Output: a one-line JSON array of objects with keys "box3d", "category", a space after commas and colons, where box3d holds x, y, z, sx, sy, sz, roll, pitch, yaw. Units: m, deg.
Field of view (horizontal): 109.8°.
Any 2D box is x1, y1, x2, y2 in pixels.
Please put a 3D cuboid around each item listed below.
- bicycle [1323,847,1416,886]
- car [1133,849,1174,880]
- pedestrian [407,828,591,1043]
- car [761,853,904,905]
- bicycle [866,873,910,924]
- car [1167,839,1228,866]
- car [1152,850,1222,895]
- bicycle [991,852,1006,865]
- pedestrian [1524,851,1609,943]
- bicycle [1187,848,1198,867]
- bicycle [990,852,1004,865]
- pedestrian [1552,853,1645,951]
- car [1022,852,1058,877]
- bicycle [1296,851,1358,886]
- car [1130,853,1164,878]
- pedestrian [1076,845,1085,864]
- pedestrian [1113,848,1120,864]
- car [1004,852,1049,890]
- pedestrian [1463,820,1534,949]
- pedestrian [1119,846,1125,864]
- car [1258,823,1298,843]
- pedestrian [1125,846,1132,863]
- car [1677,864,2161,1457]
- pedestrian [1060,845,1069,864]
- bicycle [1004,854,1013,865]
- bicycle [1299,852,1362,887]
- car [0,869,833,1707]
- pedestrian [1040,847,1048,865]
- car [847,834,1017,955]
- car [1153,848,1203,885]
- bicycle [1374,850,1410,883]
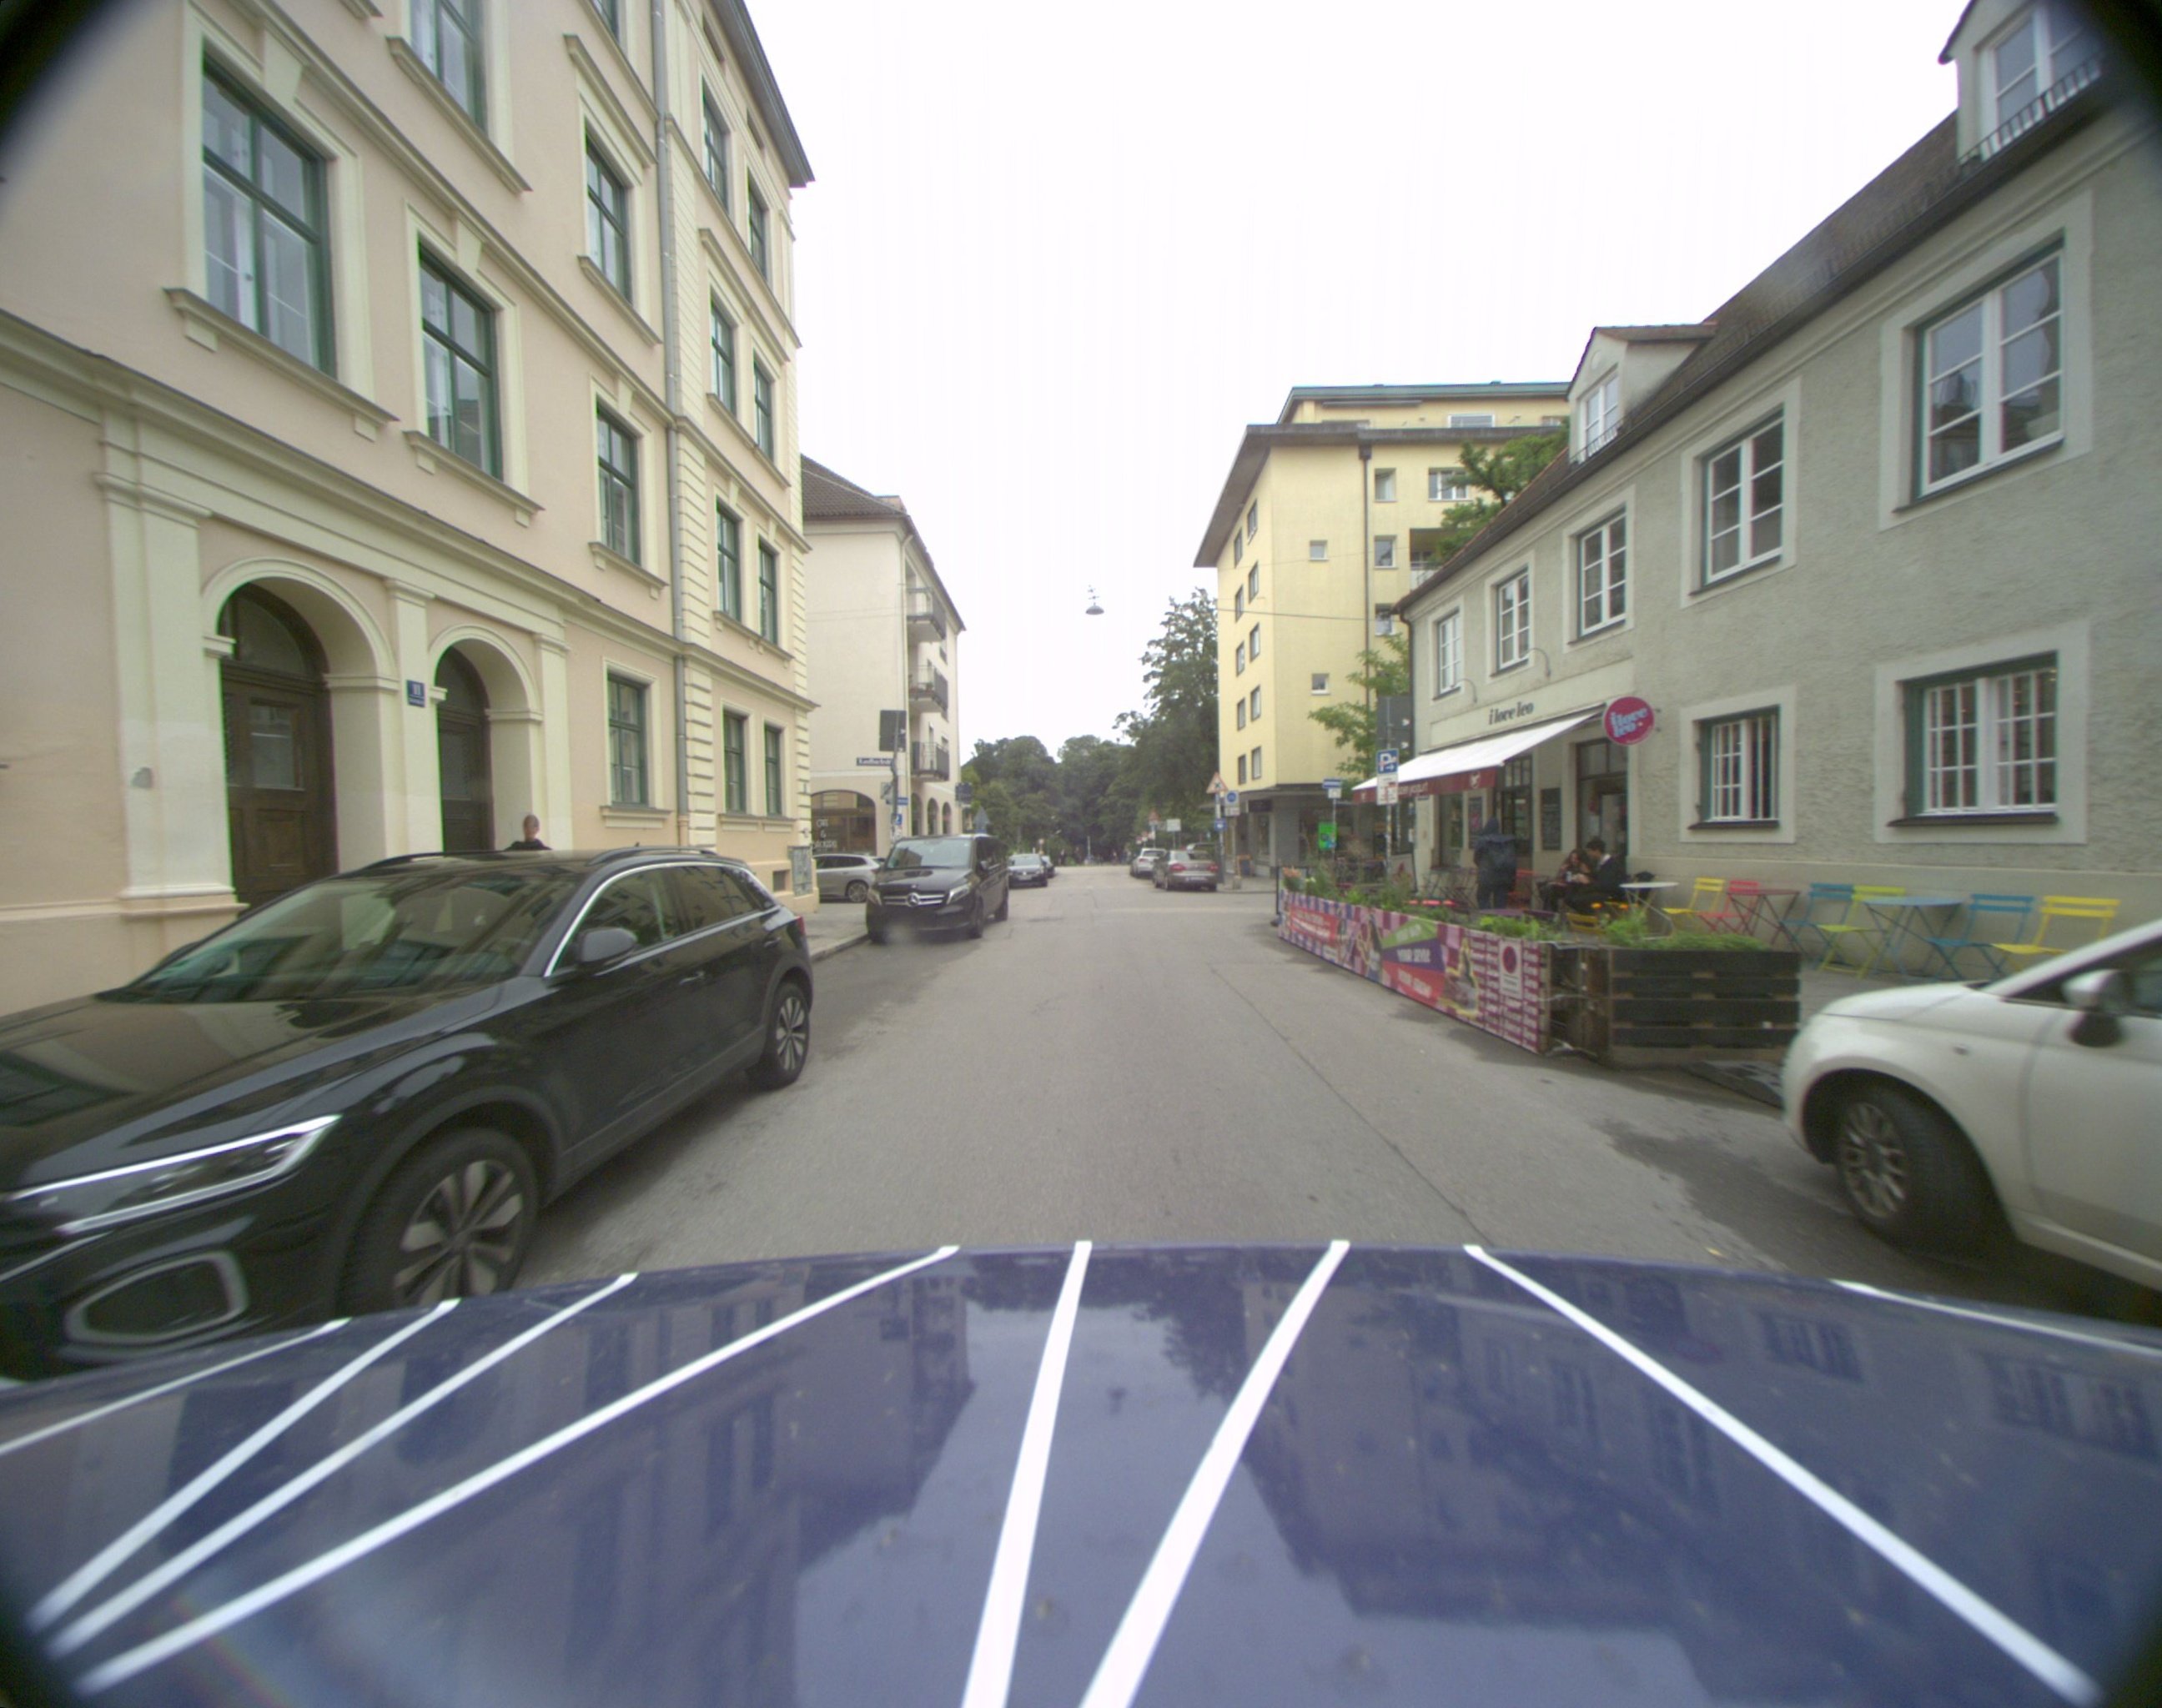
[{"box3d": [9.970, 0.428, 26.336, 2.849, 1.205, 0.817, -3, 2, 3], "category": "bicycle"}, {"box3d": [3.847, 0.535, 40.959, 1.807, 1.574, 4.338, 0, 0, 1], "category": "car"}, {"box3d": [-4.945, 0.636, 6.541, 0.721, 1.708, 1.003, -1, 3, 0], "category": "pedestrian"}, {"box3d": [-8.074, 0.804, 24.954, 4.099, 1.595, 1.755, -1, -1, -1], "category": "car"}, {"box3d": [-4.237, 0.957, 16.786, 0.466, 1.046, 1.730, 1, -1, 1], "category": "bicycle"}, {"box3d": [9.322, -0.122, 60.721, 4.422, 1.990, 1.933, -2, 2, -14], "category": "car"}, {"box3d": [3.744, 0.594, 27.613, 1.683, 1.463, 4.948, 0, 1, -2], "category": "car"}, {"box3d": [-7.808, 0.430, 71.980, 0.169, 1.191, 1.658, 0, -1, 42], "category": "bicycle"}, {"box3d": [7.185, 0.621, 11.279, 0.805, 1.283, 0.693, -1, 3, 1], "category": "pedestrian"}, {"box3d": [7.602, 0.247, 51.892, 0.563, 1.203, 1.854, -2, 1, 3], "category": "bicycle"}, {"box3d": [-7.957, 0.438, 72.110, 0.202, 1.184, 1.658, 0, -1, 42], "category": "bicycle"}, {"box3d": [7.169, 0.653, 10.556, 0.805, 1.283, 0.693, -1, 3, 1], "category": "pedestrian"}, {"box3d": [-2.426, 0.595, 45.992, 1.807, 1.402, 4.656, -2, 0, 1], "category": "car"}, {"box3d": [7.972, 0.482, 24.669, 1.822, 1.029, 0.392, -3, 0, 3], "category": "bicycle"}, {"box3d": [4.016, 0.673, 46.528, 1.750, 1.402, 4.097, 0, 0, 1], "category": "car"}, {"box3d": [-0.035, 0.041, 66.685, 0.639, 1.662, 0.774, -3, -2, 1], "category": "pedestrian"}, {"box3d": [3.892, 0.219, 83.464, 0.751, 1.822, 1.115, 0, -1, 1], "category": "pedestrian"}, {"box3d": [-2.295, 0.670, 32.778, 1.680, 1.417, 4.202, -4, 0, -2], "category": "car"}, {"box3d": [5.965, 0.405, 10.895, 0.530, 1.772, 0.877, -1, 3, 1], "category": "pedestrian"}, {"box3d": [4.382, 0.085, 81.317, 0.707, 1.892, 0.804, 0, -1, 1], "category": "pedestrian"}, {"box3d": [22.416, -2.408, 86.471, 3.957, 2.093, 1.908, -1, 2, 31], "category": "car"}, {"box3d": [5.096, 0.083, 81.310, 0.634, 1.771, 0.801, 0, -1, 1], "category": "pedestrian"}, {"box3d": [3.730, 0.838, 1.713, 1.759, 1.466, 3.712, -2, 1, -2], "category": "car"}, {"box3d": [-1.459, 0.041, 66.671, 0.686, 1.662, 0.774, -3, -2, 1], "category": "pedestrian"}, {"box3d": [-7.045, 0.553, 73.820, 0.307, 1.032, 1.656, 0, -1, 15], "category": "bicycle"}, {"box3d": [7.949, 0.497, 24.266, 1.822, 1.029, 0.392, -3, 0, 3], "category": "bicycle"}, {"box3d": [-2.732, 0.932, 3.362, 1.759, 1.512, 4.274, -2, 1, 1], "category": "car"}, {"box3d": [-3.559, 0.222, 72.770, 0.653, 1.676, 0.976, -3, -2, 1], "category": "pedestrian"}, {"box3d": [-2.586, 0.613, 14.647, 2.002, 1.854, 5.253, -2, 1, 2], "category": "car"}, {"box3d": [4.053, 0.496, 32.210, 1.683, 1.463, 4.097, 0, 1, 2], "category": "car"}, {"box3d": [10.043, 0.379, 24.590, 0.381, 0.960, 1.715, -3, 2, -3], "category": "bicycle"}]
